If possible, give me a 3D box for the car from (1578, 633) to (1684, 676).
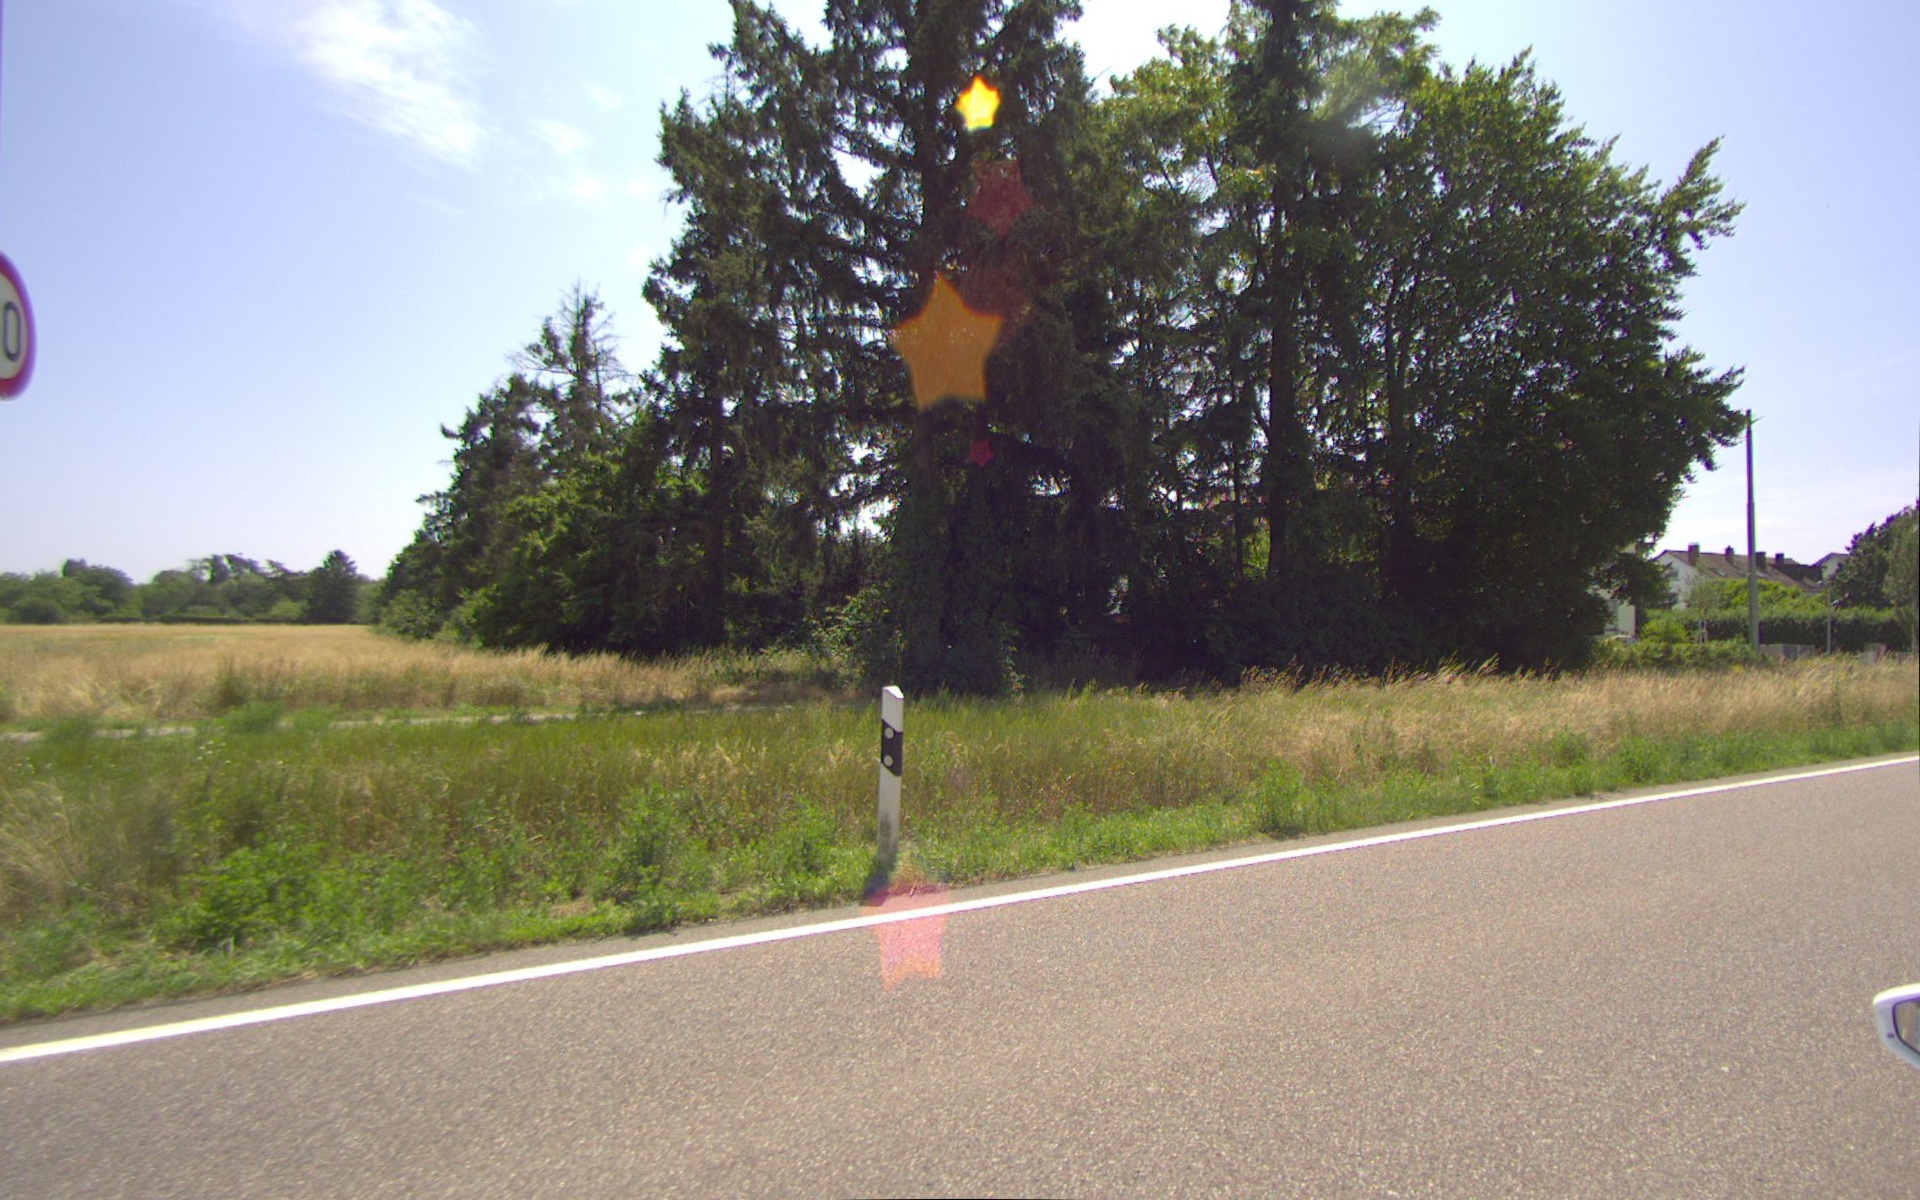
[{"bbox_3d":[25.189,2.024,37.690,4.138,1.511,1.698,2,0,-31],"label":"car"}]
